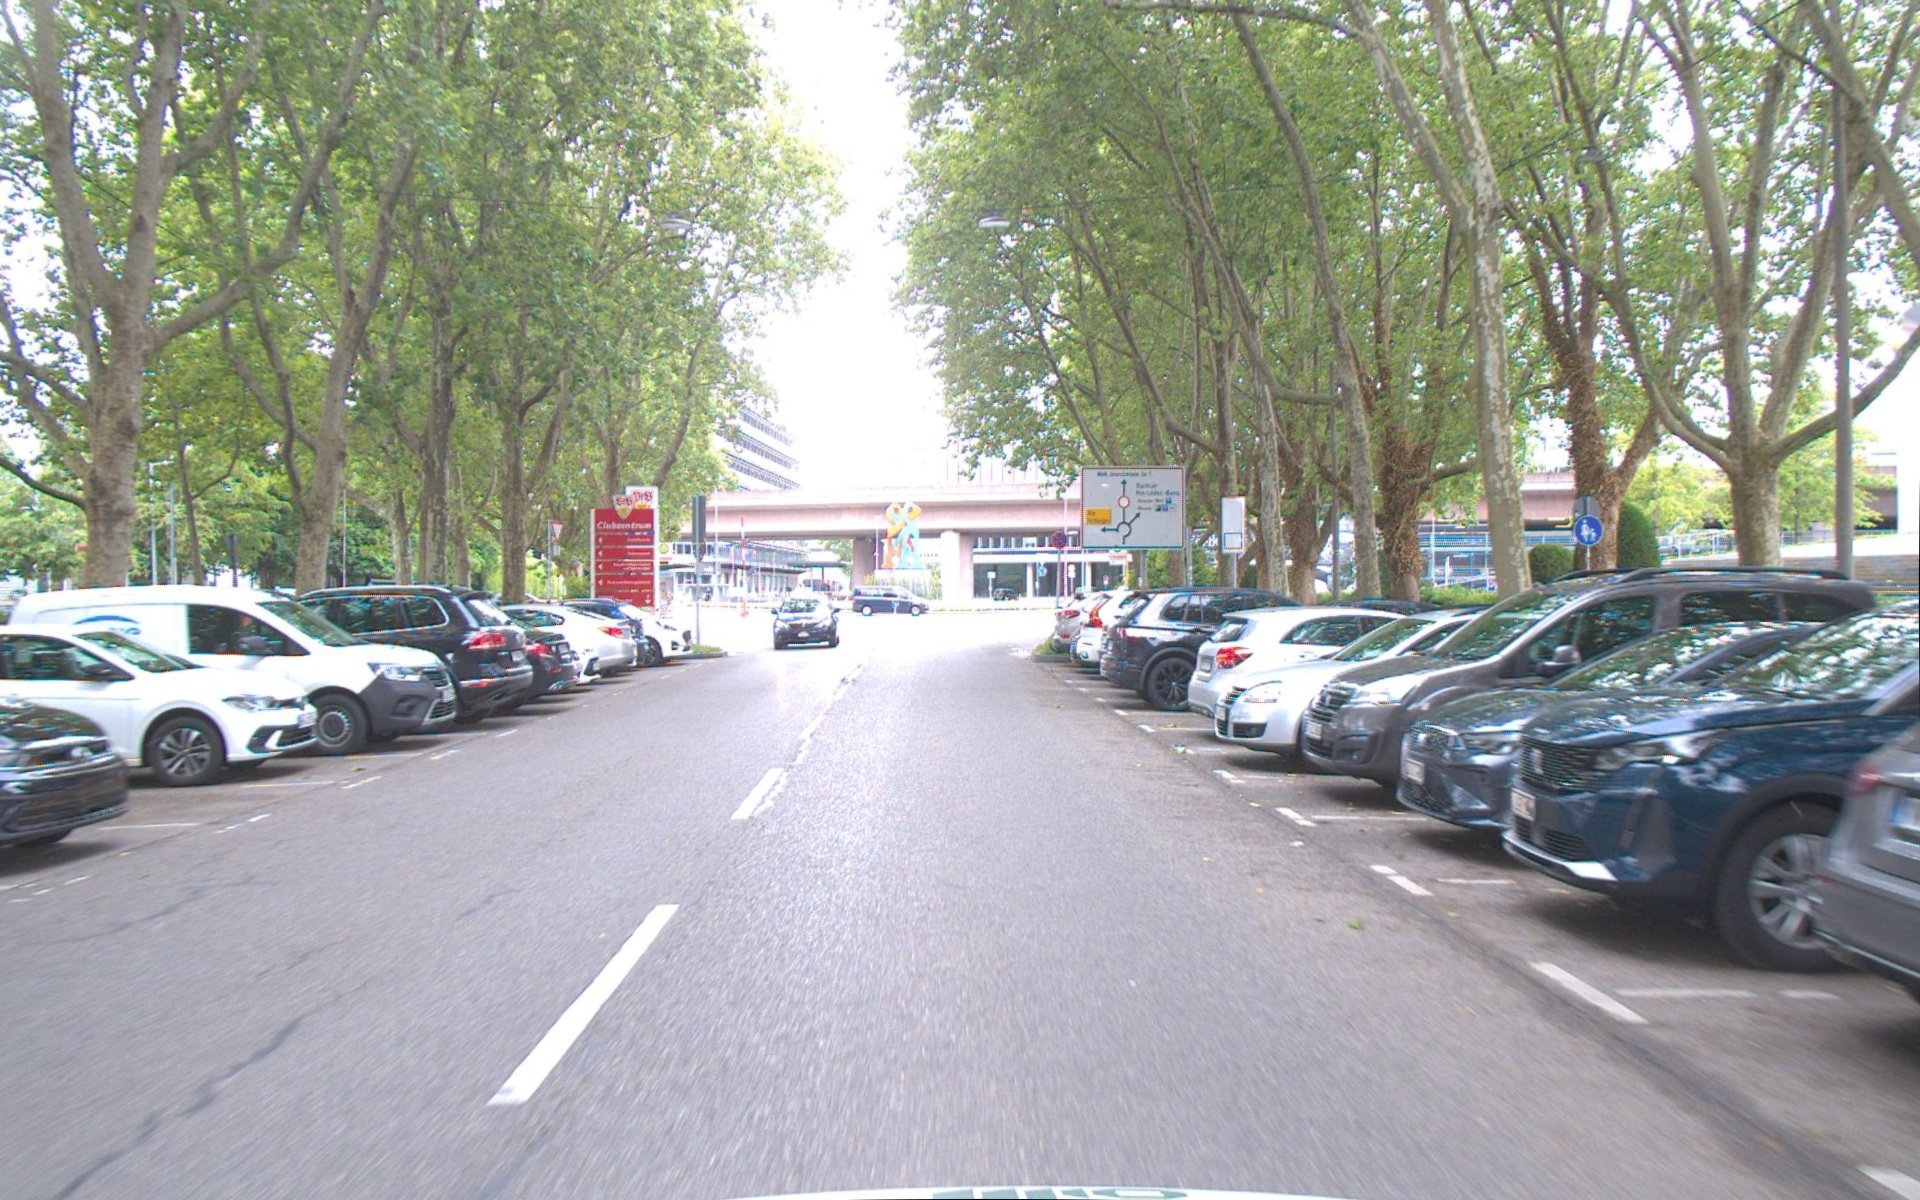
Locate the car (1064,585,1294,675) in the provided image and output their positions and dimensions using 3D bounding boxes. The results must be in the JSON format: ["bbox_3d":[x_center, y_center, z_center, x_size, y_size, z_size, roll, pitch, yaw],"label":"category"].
[{"bbox_3d":[4.273,0.564,32.741,4.258,1.633,1.925,1,1,-1],"label":"car"}]

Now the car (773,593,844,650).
[{"bbox_3d":[-4.274,0.595,47.183,1.805,1.536,4.013,0,0,-3],"label":"car"}]

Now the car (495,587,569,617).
[{"bbox_3d":[-24.494,0.118,94.717,3.914,1.633,2.227,-1,0,-10],"label":"car"}]

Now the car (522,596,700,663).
[{"bbox_3d":[-8.442,0.698,40.264,3.912,1.567,1.805,0,0,0],"label":"car"}]

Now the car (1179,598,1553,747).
[{"bbox_3d":[4.309,0.754,17.854,3.568,1.452,1.664,1,1,-5],"label":"car"}]

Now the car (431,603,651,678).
[{"bbox_3d":[-8.271,0.793,32.926,3.906,1.430,1.861,0,0,-2],"label":"car"}]

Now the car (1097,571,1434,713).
[{"bbox_3d":[4.157,0.555,22.975,4.259,1.791,1.924,1,0,-3],"label":"car"}]

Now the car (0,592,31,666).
[{"bbox_3d":[-22.653,0.606,35.420,4.234,1.575,2.203,0,0,-2],"label":"car"}]

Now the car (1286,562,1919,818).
[{"bbox_3d":[4.869,0.647,12.836,4.259,1.776,1.836,1,1,-3],"label":"car"}]

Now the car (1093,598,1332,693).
[{"bbox_3d":[4.172,0.732,27.656,3.656,1.427,1.775,2,0,-2],"label":"car"}]

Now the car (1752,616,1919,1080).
[{"bbox_3d":[5.167,0.836,5.377,4.258,1.438,1.925,1,1,-1],"label":"car"}]

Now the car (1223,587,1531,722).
[{"bbox_3d":[5.116,0.644,20.576,3.365,1.518,1.680,-1,0,-2],"label":"car"}]

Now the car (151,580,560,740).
[{"bbox_3d":[-7.266,0.703,20.243,4.230,1.826,2.036,0,0,-1],"label":"car"}]

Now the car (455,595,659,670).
[{"bbox_3d":[-8.552,0.678,35.317,3.913,1.520,1.832,0,0,-2],"label":"car"}]

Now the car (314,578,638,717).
[{"bbox_3d":[-7.129,0.668,24.704,4.230,1.841,1.867,-2,0,-1],"label":"car"}]

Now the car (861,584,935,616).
[{"bbox_3d":[-4.002,0.009,107.477,4.669,2.049,2.284,0,0,1],"label":"car"}]

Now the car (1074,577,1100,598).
[{"bbox_3d":[13.369,-1.306,174.032,1.951,2.049,4.002,0,0,16],"label":"car"}]

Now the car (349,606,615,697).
[{"bbox_3d":[-7.884,0.837,27.572,3.907,1.429,1.884,0,0,-3],"label":"car"}]

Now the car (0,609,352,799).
[{"bbox_3d":[-7.647,0.910,15.018,3.716,1.497,1.759,-2,1,-12],"label":"car"}]

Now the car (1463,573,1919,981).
[{"bbox_3d":[4.907,0.754,7.786,4.497,1.668,1.873,1,1,0],"label":"car"}]

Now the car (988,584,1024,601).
[{"bbox_3d":[5.019,-0.846,181.567,1.962,1.803,3.981,0,0,38],"label":"car"}]

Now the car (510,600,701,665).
[{"bbox_3d":[-8.065,0.725,37.862,3.911,1.409,1.912,0,0,2],"label":"car"}]

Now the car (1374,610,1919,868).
[{"bbox_3d":[4.812,0.819,10.402,3.958,1.404,1.743,1,1,-1],"label":"car"}]

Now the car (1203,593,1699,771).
[{"bbox_3d":[4.423,0.716,15.317,4.064,1.483,1.727,1,0,-1],"label":"car"}]

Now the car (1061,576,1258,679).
[{"bbox_3d":[4.193,0.555,35.272,3.906,2.049,2.000,1,1,-1],"label":"car"}]

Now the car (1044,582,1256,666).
[{"bbox_3d":[4.001,0.489,35.354,4.258,1.662,1.925,1,1,-1],"label":"car"}]

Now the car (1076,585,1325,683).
[{"bbox_3d":[4.346,0.596,30.377,4.258,1.662,1.925,1,1,-1],"label":"car"}]

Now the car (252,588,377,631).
[{"bbox_3d":[-24.134,0.351,61.936,3.906,1.549,2.001,0,0,-1],"label":"car"}]

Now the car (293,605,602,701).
[{"bbox_3d":[-7.669,0.778,25.099,4.106,1.378,1.966,0,0,-4],"label":"car"}]

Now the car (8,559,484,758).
[{"bbox_3d":[-7.483,0.575,17.721,4.233,1.841,1.866,-2,0,-5],"label":"car"}]

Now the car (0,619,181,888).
[{"bbox_3d":[-7.135,0.946,10.071,3.896,1.445,1.756,-3,0,2],"label":"car"}]

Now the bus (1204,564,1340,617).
[{"bbox_3d":[24.629,-0.716,130.346,10.902,4.003,2.738,1,0,-24],"label":"bus"}]

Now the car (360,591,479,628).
[{"bbox_3d":[-24.019,0.426,73.597,4.530,1.595,2.109,0,-1,1],"label":"car"}]

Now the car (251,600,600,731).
[{"bbox_3d":[-7.227,0.864,22.686,4.044,1.477,2.013,-3,1,0],"label":"car"}]

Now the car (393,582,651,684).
[{"bbox_3d":[-7.907,0.580,30.195,4.179,1.575,1.907,-3,0,-3],"label":"car"}]
